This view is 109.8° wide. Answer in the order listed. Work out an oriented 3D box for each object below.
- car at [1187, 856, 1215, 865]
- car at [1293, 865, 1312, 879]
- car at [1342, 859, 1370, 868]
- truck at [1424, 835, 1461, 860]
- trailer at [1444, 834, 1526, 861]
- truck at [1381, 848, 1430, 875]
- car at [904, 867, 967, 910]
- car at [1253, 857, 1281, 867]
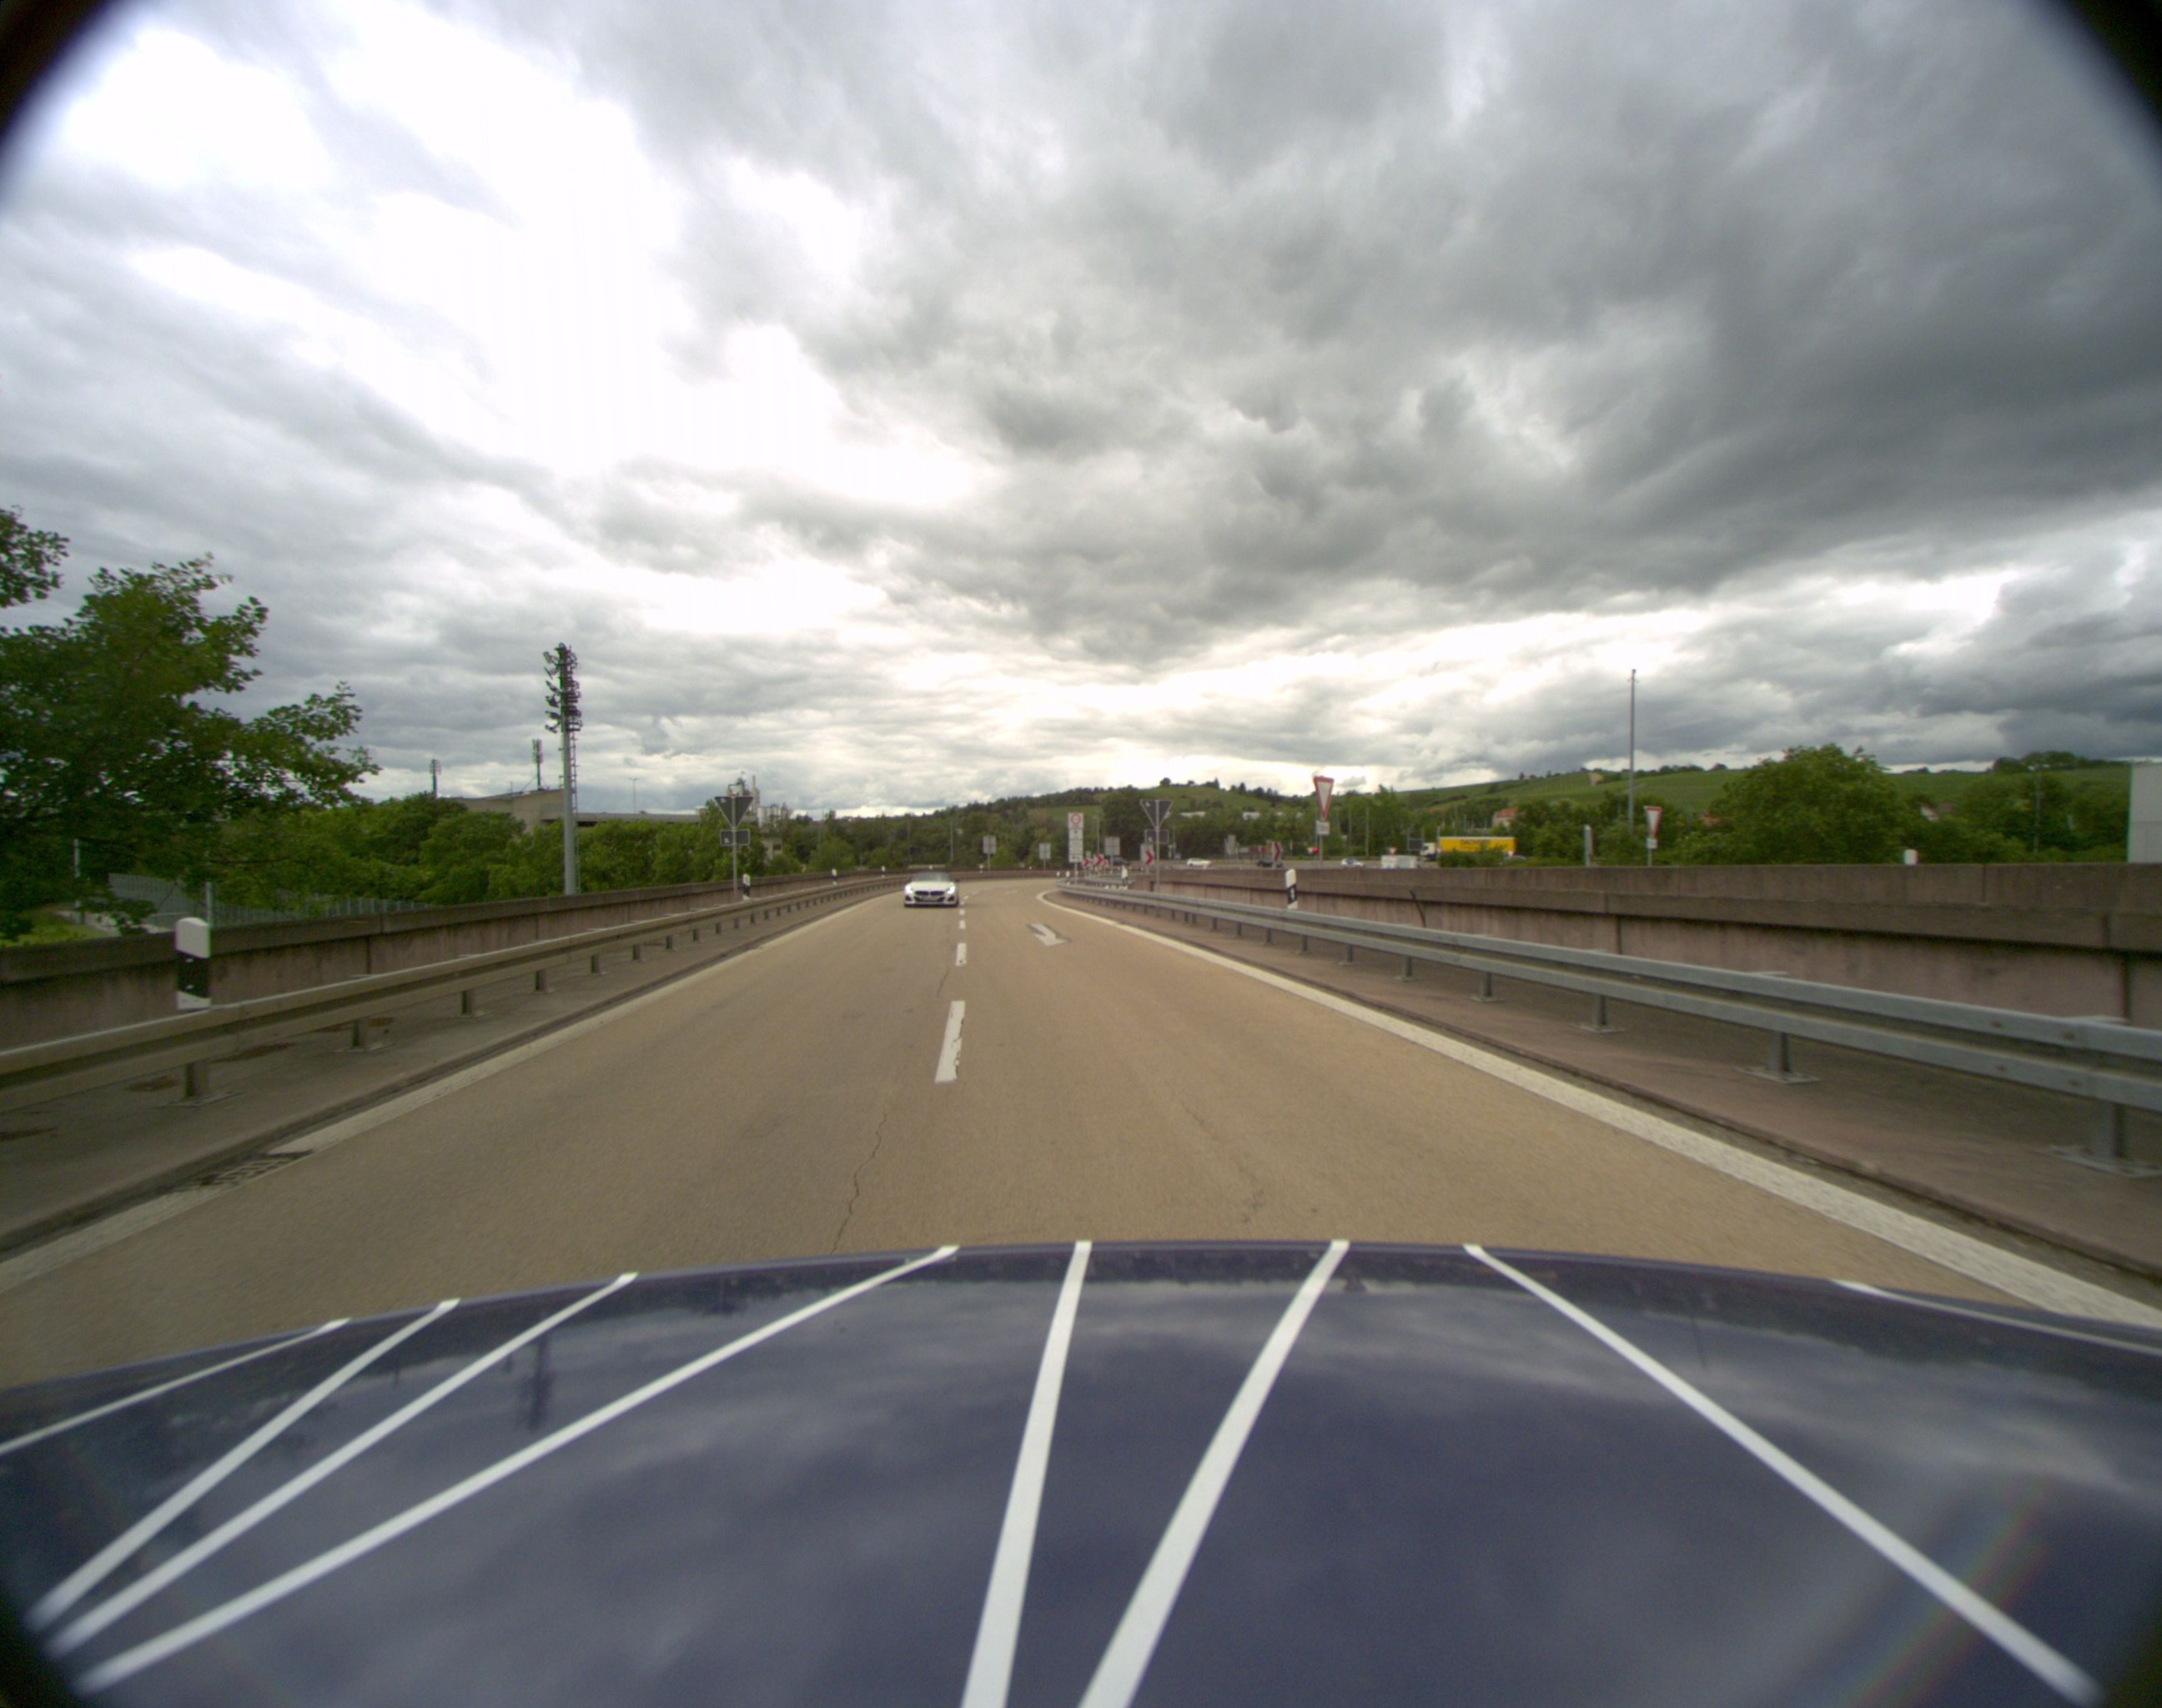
[{"bbox_3d":[22.022,1.145,139.516,4.702,1.552,1.881,-1,3,38],"label":"car"},{"bbox_3d":[23.987,1.901,82.275,1.913,1.406,4.371,3,0,17],"label":"car"},{"bbox_3d":[43.768,1.531,121.009,3.738,1.366,1.631,-1,3,39],"label":"car"},{"bbox_3d":[61.517,-1.175,129.335,5.087,4.181,2.640,1,3,39],"label":"truck"},{"bbox_3d":[66.473,-1.122,125.289,11.621,4.181,2.640,1,3,39],"label":"trailer"},{"bbox_3d":[41.448,0.910,96.925,7.008,3.245,2.346,0,2,-36],"label":"truck"},{"bbox_3d":[-5.351,1.217,28.543,1.864,1.337,4.822,1,0,-6],"label":"car"},{"bbox_3d":[32.060,1.436,131.016,4.282,1.548,1.951,-1,3,38],"label":"car"}]
